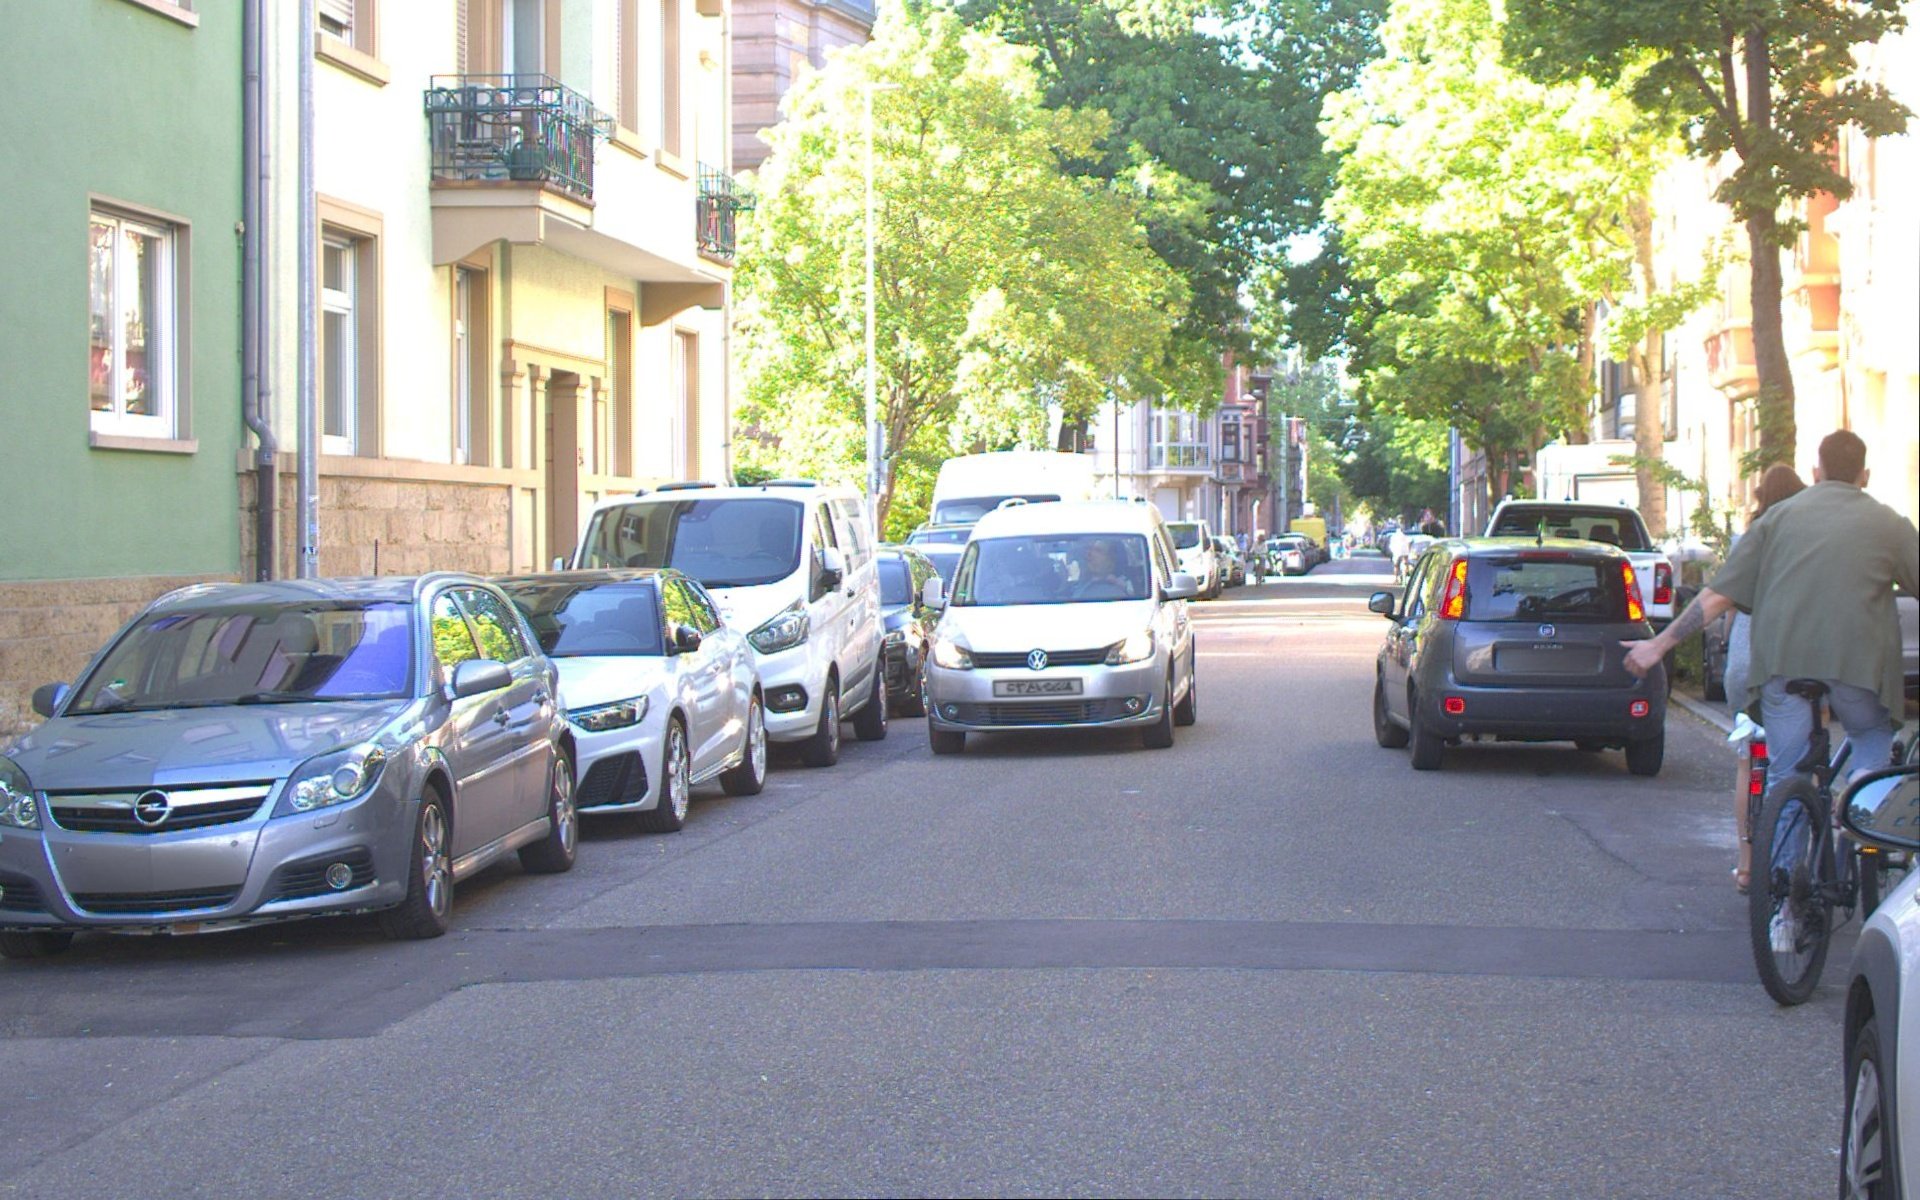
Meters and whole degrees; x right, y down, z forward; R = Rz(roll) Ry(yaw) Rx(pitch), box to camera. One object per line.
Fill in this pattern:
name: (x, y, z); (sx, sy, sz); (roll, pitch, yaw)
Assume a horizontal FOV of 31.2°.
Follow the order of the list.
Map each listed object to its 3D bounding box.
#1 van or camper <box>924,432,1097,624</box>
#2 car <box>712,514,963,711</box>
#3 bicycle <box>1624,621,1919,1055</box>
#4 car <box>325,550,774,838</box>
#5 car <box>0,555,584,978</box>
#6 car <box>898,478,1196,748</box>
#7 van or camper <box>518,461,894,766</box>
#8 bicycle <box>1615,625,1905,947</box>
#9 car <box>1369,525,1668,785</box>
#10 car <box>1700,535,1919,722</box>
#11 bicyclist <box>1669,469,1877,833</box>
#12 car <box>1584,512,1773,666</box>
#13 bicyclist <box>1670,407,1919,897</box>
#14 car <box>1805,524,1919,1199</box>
van or camper: (0.764, -1.014, 48.144); (1.994, 2.544, 5.022); (0, 1, 6)
car: (-1.048, 0.059, 31.404); (1.711, 1.678, 3.999); (0, 1, 7)
bicycle: (2.886, 0.718, 11.442); (0.840, 1.145, 2.230); (5, 4, 22)
car: (-2.228, 0.464, 19.610); (1.687, 1.448, 3.709); (-1, 1, 7)
car: (-2.966, 0.594, 14.523); (1.979, 1.450, 4.113); (-2, 1, 4)
car: (0.746, 0.058, 26.102); (1.782, 1.854, 4.198); (-1, 1, 8)
van or camper: (-1.741, 0.045, 25.315); (1.994, 2.007, 4.911); (-1, 1, 5)
bicycle: (3.180, 0.697, 13.497); (0.840, 1.145, 2.230); (0, -2, 20)
car: (3.703, 0.305, 23.274); (1.557, 1.527, 3.486); (3, 2, 3)
car: (7.240, 0.199, 29.263); (1.557, 1.404, 3.380); (3, 2, 8)
bicyclist: (3.205, 0.221, 13.519); (0.624, 1.376, 0.867); (-2, -4, 24)
car: (8.260, -0.162, 39.800); (1.687, 1.678, 3.999); (-1, 1, 5)
bicyclist: (2.909, 0.183, 11.453); (0.883, 1.556, 0.867); (-1, -2, 24)
car: (2.263, 0.693, 4.764); (1.675, 1.539, 3.403); (2, 1, 7)
